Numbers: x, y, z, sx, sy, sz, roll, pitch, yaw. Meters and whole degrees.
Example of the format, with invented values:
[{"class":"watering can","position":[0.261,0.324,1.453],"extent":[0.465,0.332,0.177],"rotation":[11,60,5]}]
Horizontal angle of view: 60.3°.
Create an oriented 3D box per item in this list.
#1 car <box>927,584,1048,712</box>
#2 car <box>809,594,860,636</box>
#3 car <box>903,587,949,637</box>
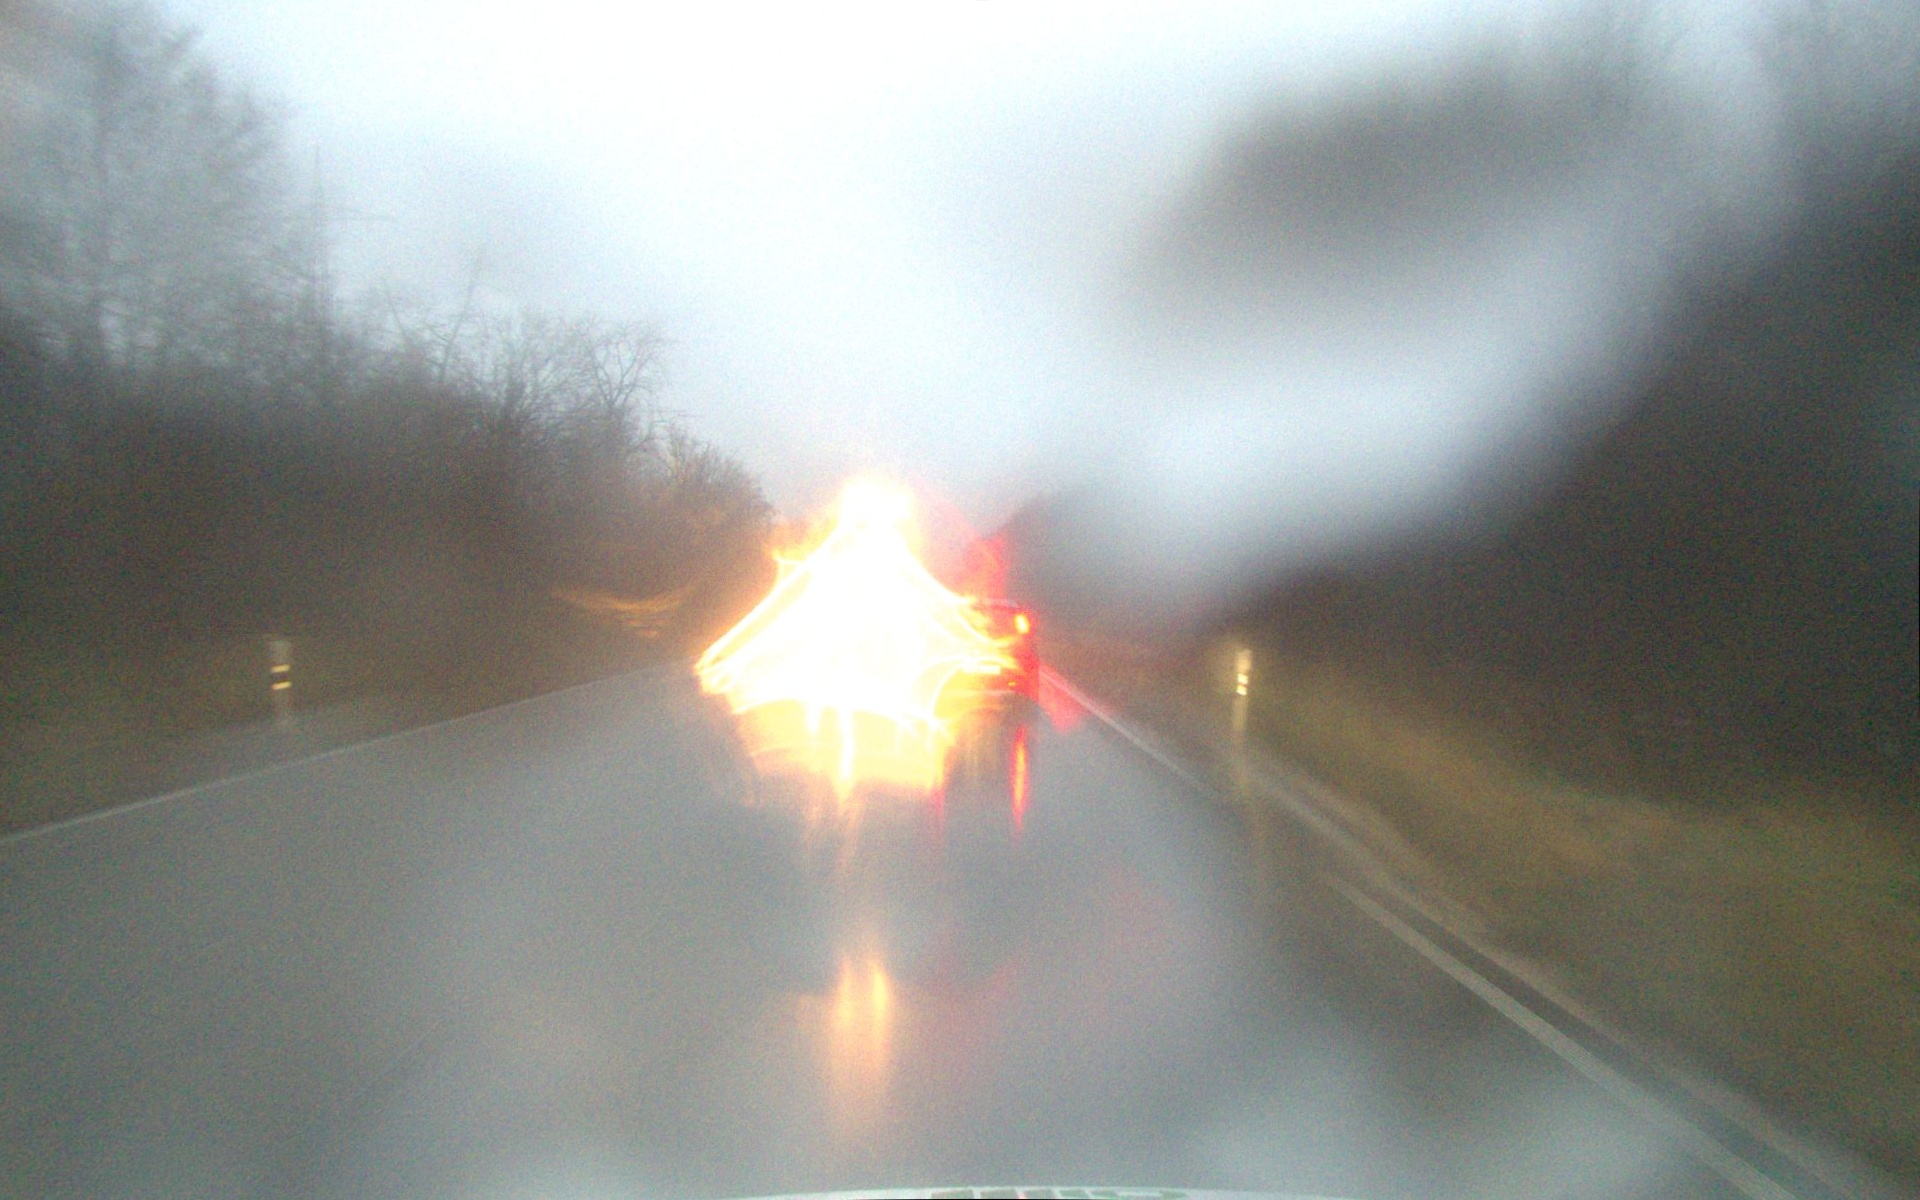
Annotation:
[{"class":"car","position":[0.345,0.646,24.083],"extent":[1.614,1.701,3.513],"rotation":[1,0,-1]},{"class":"car","position":[-4.882,0.561,64.861],"extent":[1.664,1.522,5.663],"rotation":[1,0,-1]},{"class":"car","position":[-1.297,0.441,62.986],"extent":[1.698,1.810,3.999],"rotation":[1,0,-1]}]
